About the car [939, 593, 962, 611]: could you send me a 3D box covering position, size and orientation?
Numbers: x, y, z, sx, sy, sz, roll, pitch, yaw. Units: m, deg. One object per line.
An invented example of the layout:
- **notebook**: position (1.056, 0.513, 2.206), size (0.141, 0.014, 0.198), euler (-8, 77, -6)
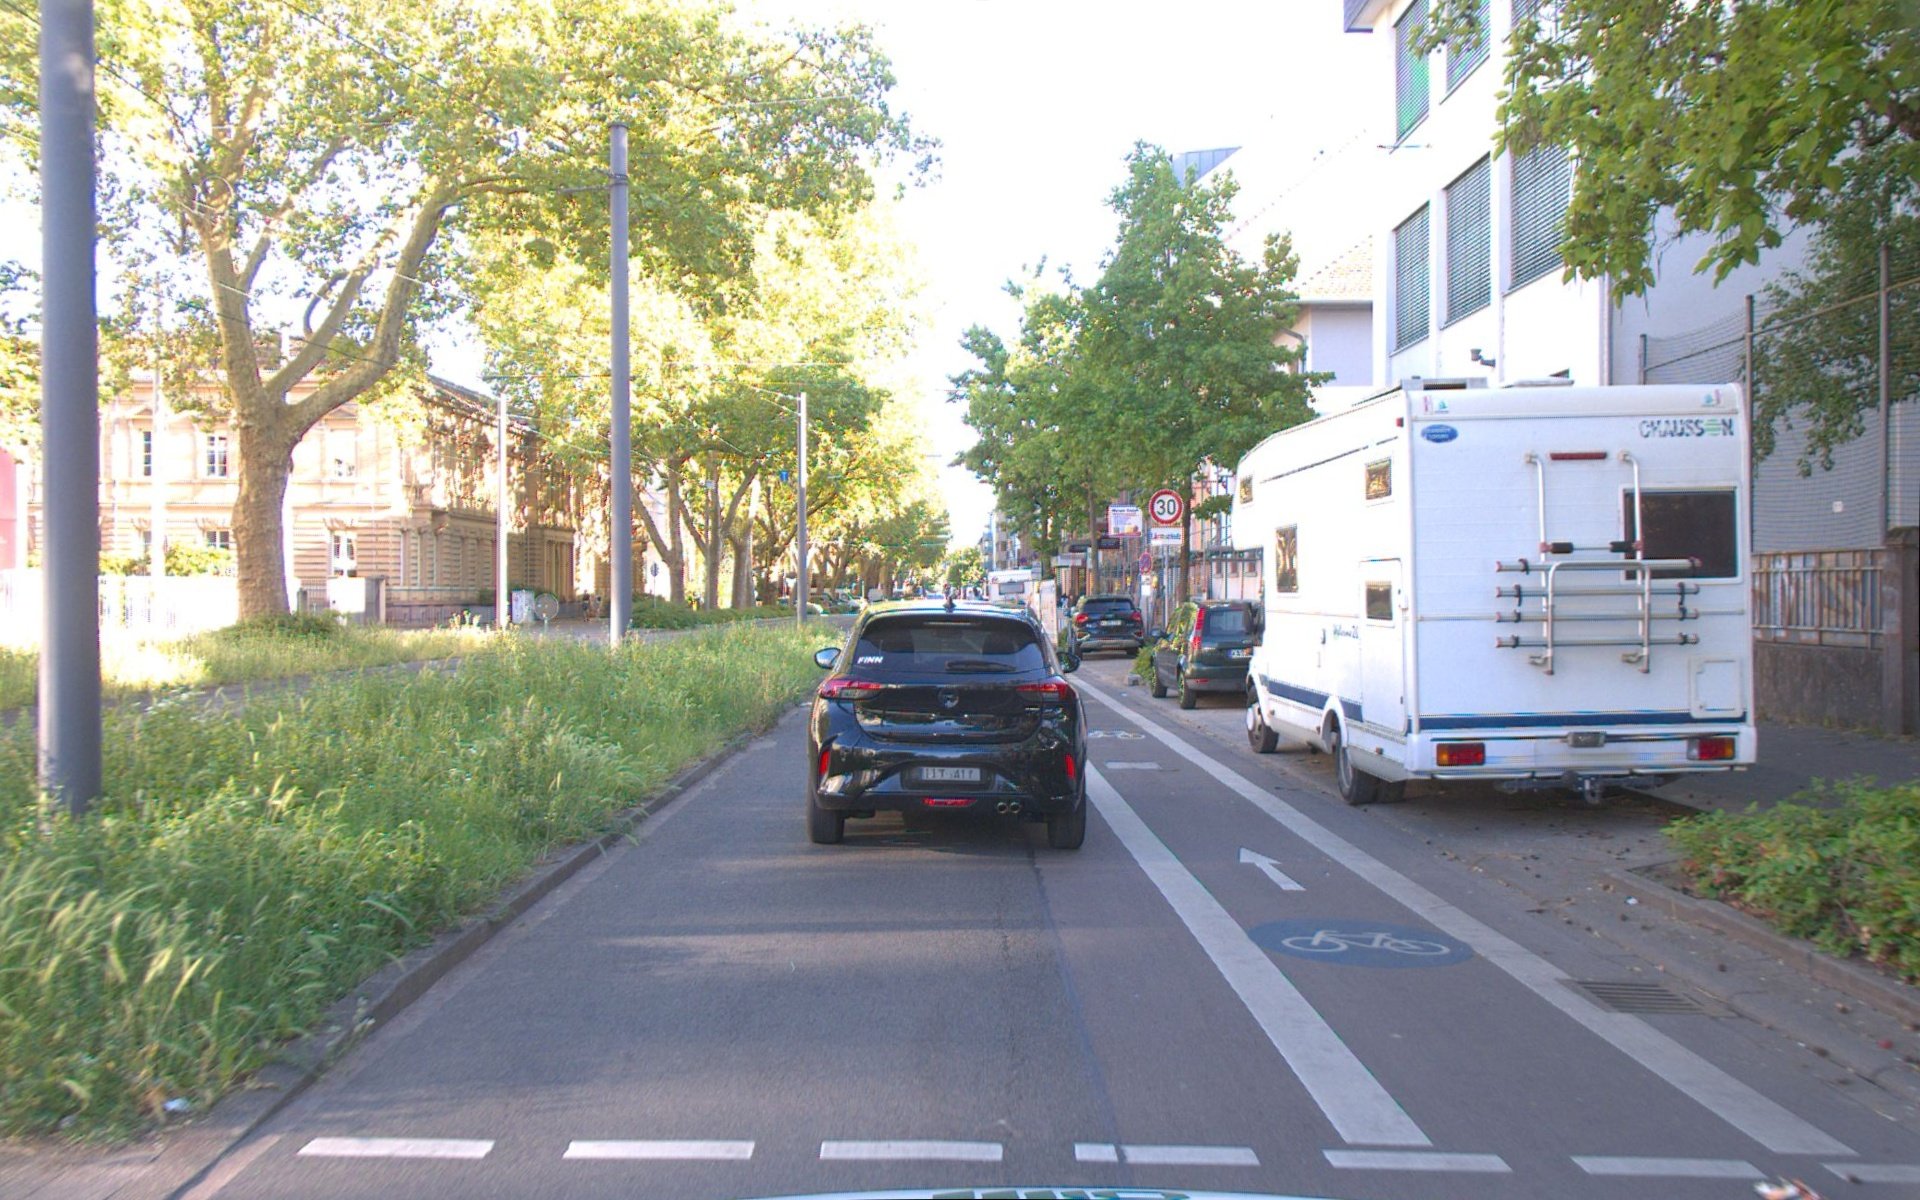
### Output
- **car**: position (-0.810, 0.165, 140.546), size (1.865, 1.450, 4.216), euler (1, 0, 1)

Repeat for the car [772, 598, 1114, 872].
- **car**: position (-0.055, 0.734, 11.153), size (1.865, 1.450, 4.216), euler (0, 0, 1)

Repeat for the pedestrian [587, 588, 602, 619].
- **pedestrian**: position (-19.760, 0.193, 89.414), size (0.645, 1.650, 0.615), euler (2, 0, -1)

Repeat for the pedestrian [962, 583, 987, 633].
- **pedestrian**: position (0.623, 0.337, 70.094), size (1.015, 2.059, 1.212), euler (1, 0, -1)

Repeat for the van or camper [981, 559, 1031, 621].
- **van or camper**: position (2.380, -0.515, 87.118), size (2.435, 3.046, 5.435), euler (2, 0, 1)

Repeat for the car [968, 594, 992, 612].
- **car**: position (1.614, 0.228, 133.477), size (1.865, 1.450, 4.216), euler (1, 0, 1)

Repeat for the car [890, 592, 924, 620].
- **car**: position (-3.065, 0.321, 95.803), size (1.753, 1.536, 3.874), euler (-1, 0, 0)

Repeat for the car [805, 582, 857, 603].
- **car**: position (-14.249, -0.831, 182.859), size (5.571, 2.236, 2.289), euler (0, 0, 0)

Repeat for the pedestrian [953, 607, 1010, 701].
- **pedestrian**: position (0.365, 0.915, 28.489), size (0.950, 1.590, 0.971), euler (0, 0, -1)

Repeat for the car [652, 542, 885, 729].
- **car**: position (-1.888, 0.322, 17.670), size (1.953, 1.656, 4.469), euler (3, 0, -1)

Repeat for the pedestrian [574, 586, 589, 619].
- **pedestrian**: position (-20.410, 0.146, 89.217), size (0.605, 1.763, 0.596), euler (2, 0, -1)

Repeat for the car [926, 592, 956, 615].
- **car**: position (-1.246, 0.217, 111.330), size (1.865, 1.450, 4.216), euler (1, 0, 1)

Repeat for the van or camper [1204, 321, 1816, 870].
- **van or camper**: position (3.848, -0.050, 13.664), size (2.327, 3.179, 7.549), euler (-2, 0, -1)

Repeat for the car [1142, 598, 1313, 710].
- **car**: position (3.737, 0.703, 23.722), size (1.652, 1.445, 4.047), euler (0, 0, -2)

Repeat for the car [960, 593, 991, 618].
- **car**: position (0.981, 0.343, 101.580), size (1.865, 1.450, 4.216), euler (1, 0, 1)

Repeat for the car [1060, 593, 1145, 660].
- **car**: position (3.463, 0.614, 40.736), size (1.753, 1.536, 3.874), euler (-1, 0, 0)
